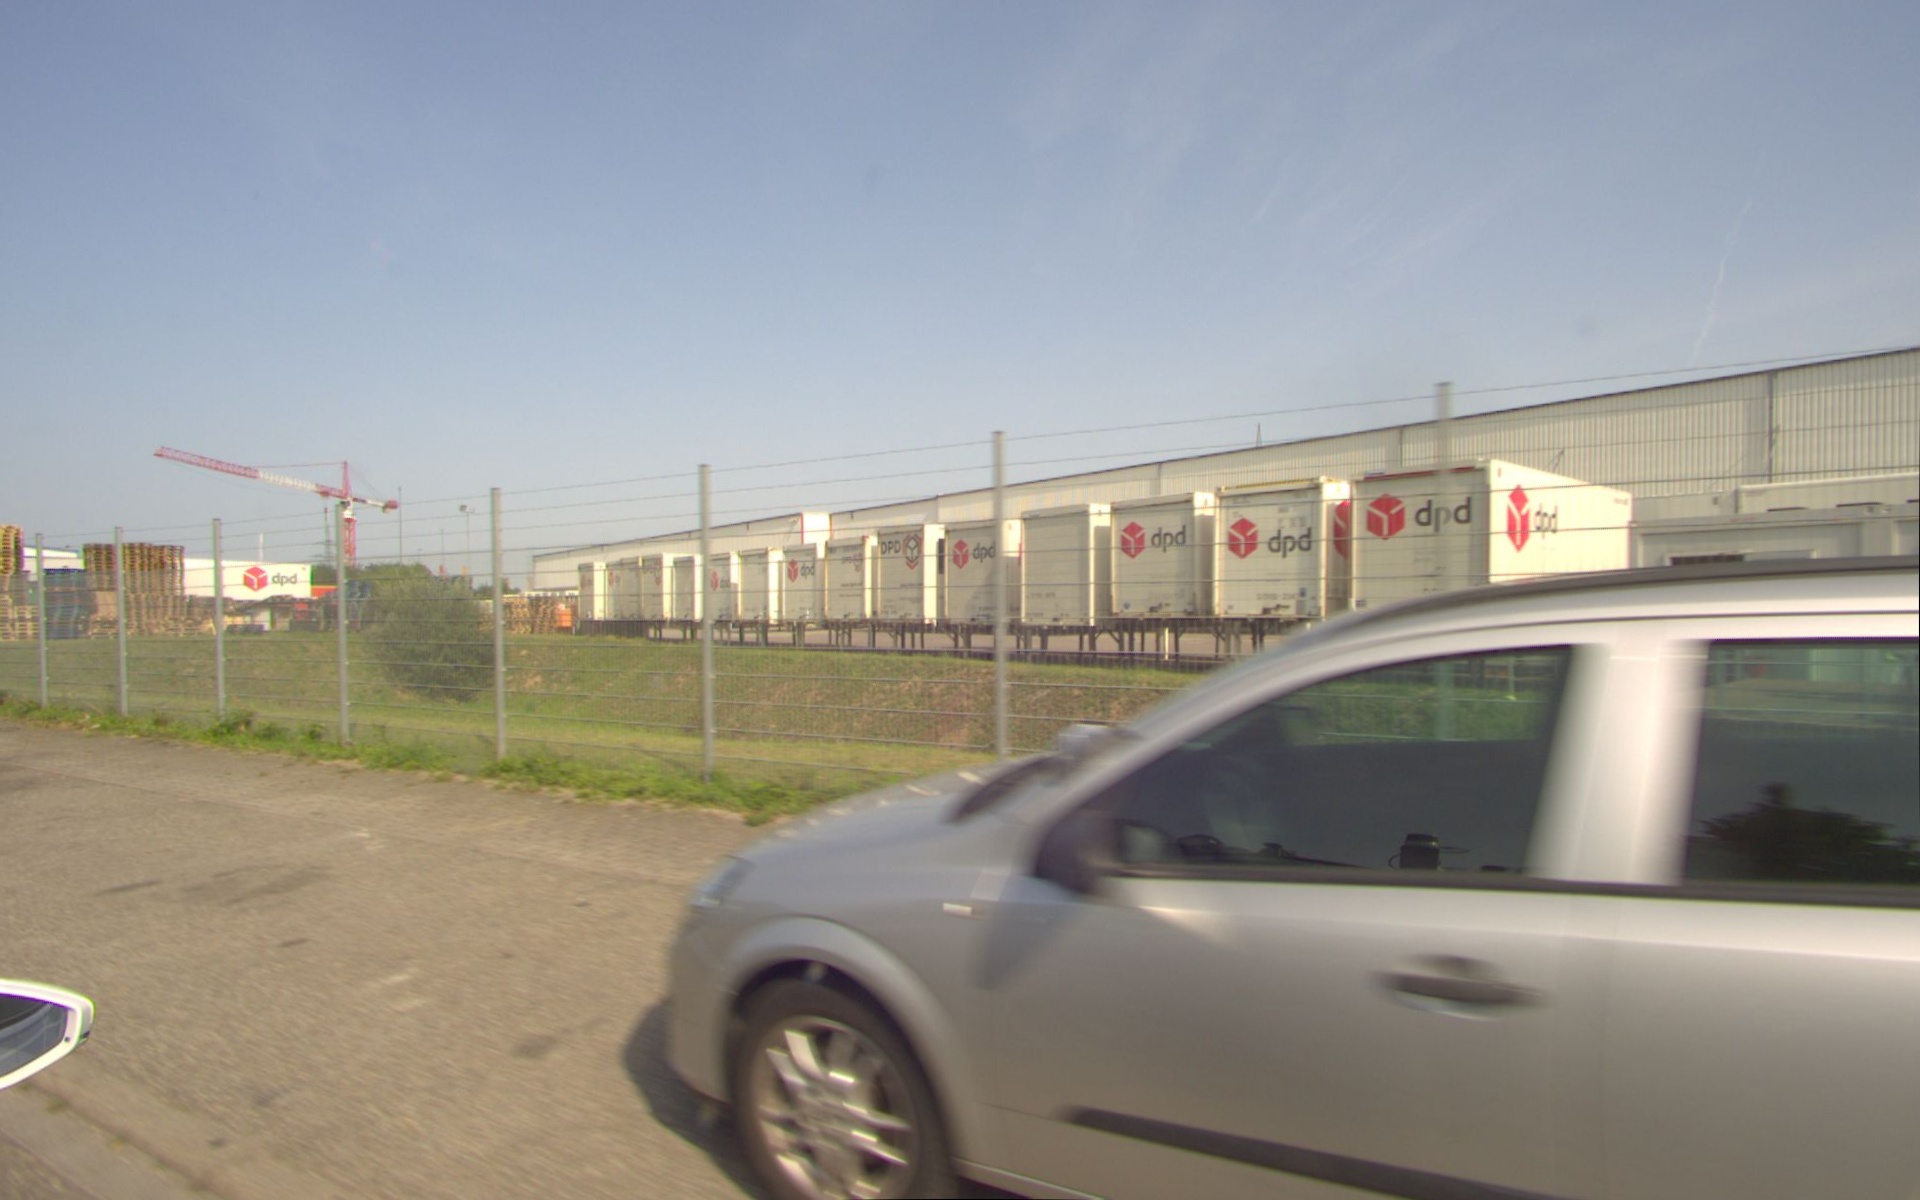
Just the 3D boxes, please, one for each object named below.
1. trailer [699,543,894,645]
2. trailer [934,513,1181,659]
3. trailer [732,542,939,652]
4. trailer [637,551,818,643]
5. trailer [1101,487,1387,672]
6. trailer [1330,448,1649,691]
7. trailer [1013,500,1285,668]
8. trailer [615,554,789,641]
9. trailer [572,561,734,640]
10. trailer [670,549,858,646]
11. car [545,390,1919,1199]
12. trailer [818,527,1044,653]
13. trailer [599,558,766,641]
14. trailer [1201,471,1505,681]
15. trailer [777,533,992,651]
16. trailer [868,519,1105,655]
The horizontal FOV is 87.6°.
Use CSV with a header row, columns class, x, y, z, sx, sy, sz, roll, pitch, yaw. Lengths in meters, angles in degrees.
class,x,y,z,sx,sy,sz,roll,pitch,yaw
trailer,-6.858,-0.132,42.906,7.906,3.944,2.751,3,-1,-41
trailer,3.184,-0.223,30.629,7.976,3.944,2.751,3,-1,-41
trailer,-4.784,0.018,39.795,7.906,3.944,2.751,3,-1,-41
trailer,-10.841,-0.005,47.351,7.906,3.944,2.751,3,-1,-41
trailer,7.329,-0.279,25.009,8.248,3.944,2.751,3,-1,-41
trailer,10.911,-0.339,20.110,8.475,3.944,2.751,3,-1,-41
trailer,5.390,-0.218,27.348,8.248,3.944,2.751,3,-1,-41
trailer,-12.658,-0.013,49.593,7.906,3.944,2.751,3,-1,-41
trailer,-16.534,0.121,54.304,7.906,3.944,2.718,3,-1,-41
trailer,-8.685,0.012,45.070,7.906,3.944,2.751,3,-1,-41
car,1.267,0.542,2.293,4.383,1.648,1.795,0,2,30
trailer,-0.836,-0.182,35.018,7.906,3.944,2.751,3,-1,-41
trailer,-14.334,0.083,52.219,7.906,3.944,2.718,3,-1,-41
trailer,9.165,-0.293,22.660,8.475,3.944,2.751,3,-1,-41
trailer,-2.676,-0.140,37.646,7.906,3.944,2.751,3,-1,-41
trailer,1.039,-0.238,32.682,7.906,3.944,2.751,3,-1,-41
